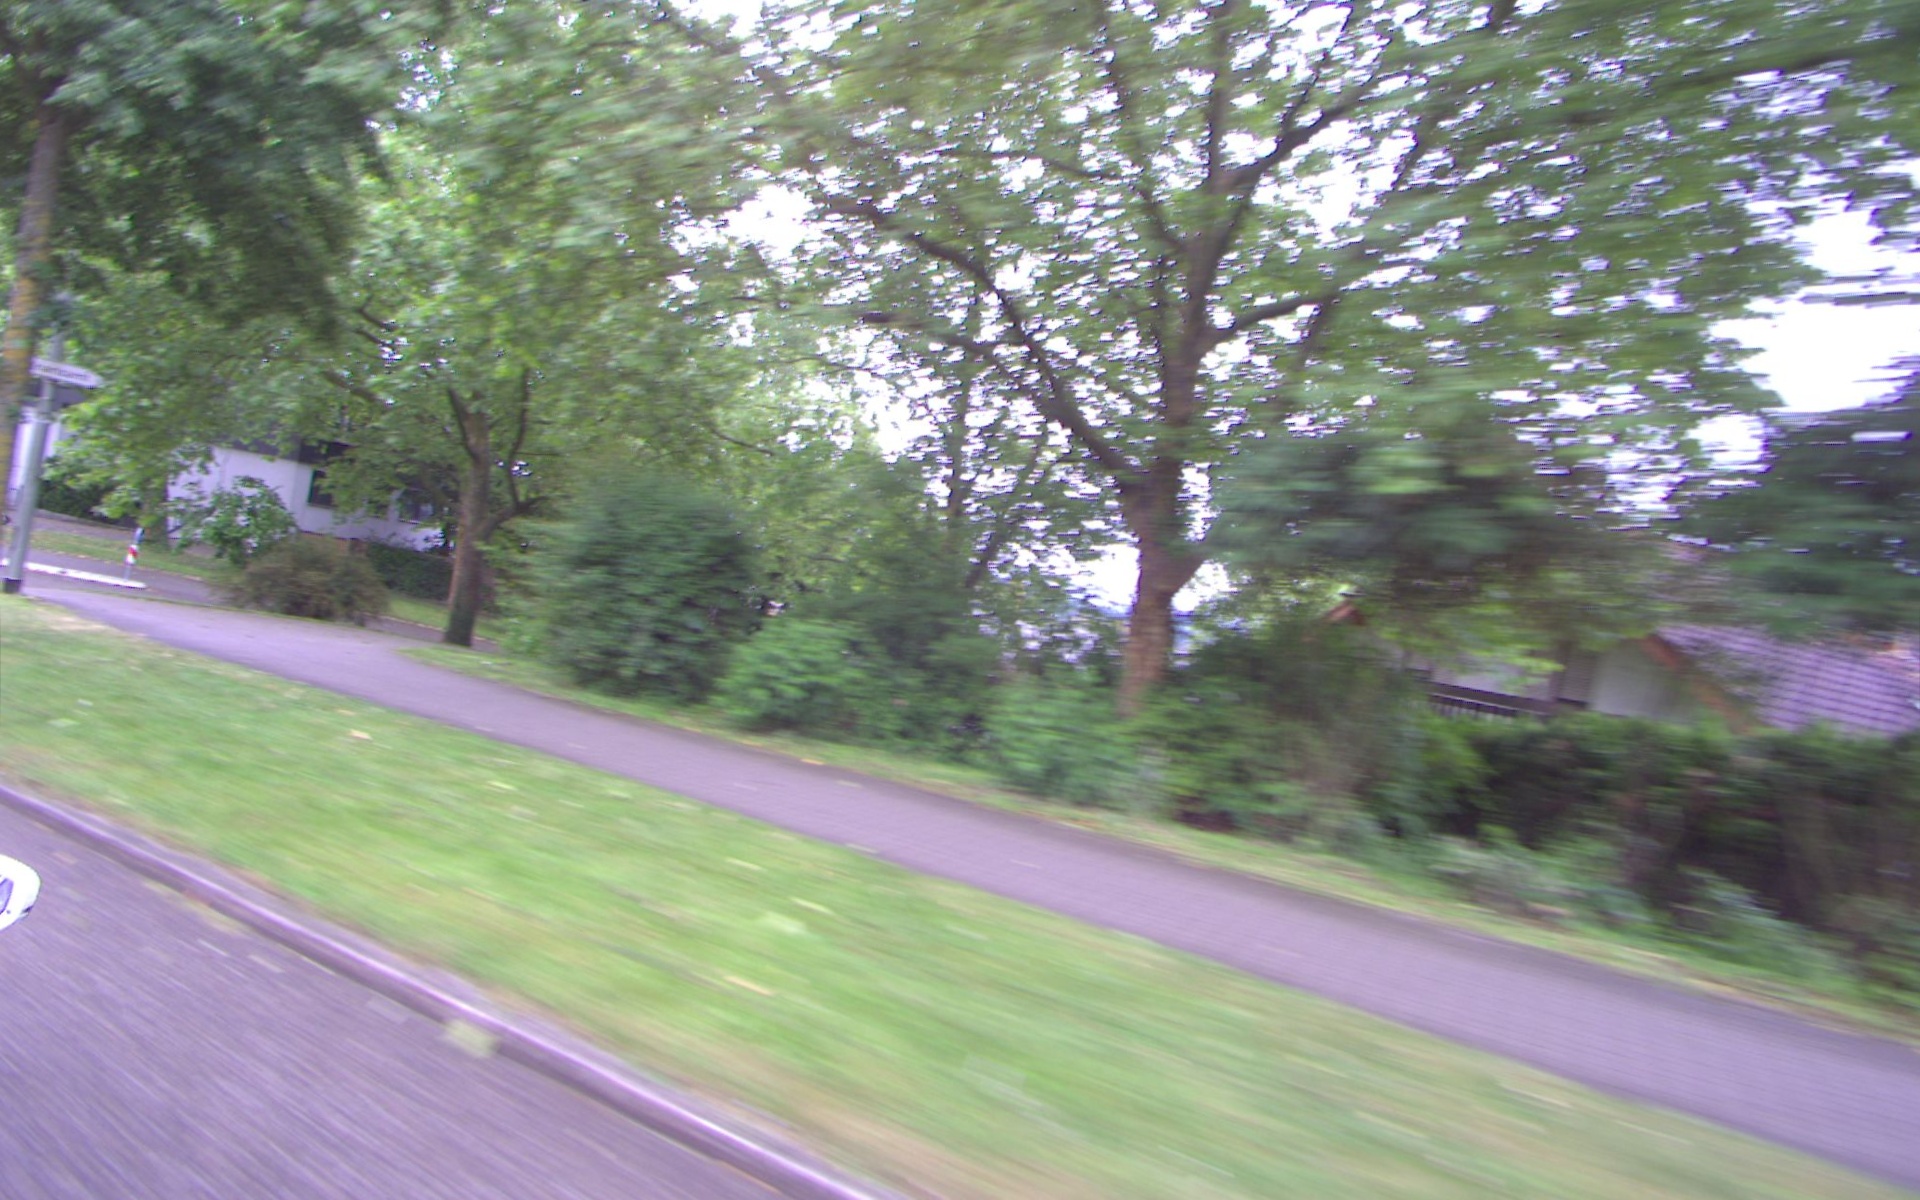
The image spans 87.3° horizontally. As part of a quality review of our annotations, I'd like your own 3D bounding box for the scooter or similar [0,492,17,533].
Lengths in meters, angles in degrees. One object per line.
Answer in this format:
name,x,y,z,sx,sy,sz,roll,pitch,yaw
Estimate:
scooter or similar,-32.622,-3.016,33.640,0.551,1.300,1.340,8,-1,23
